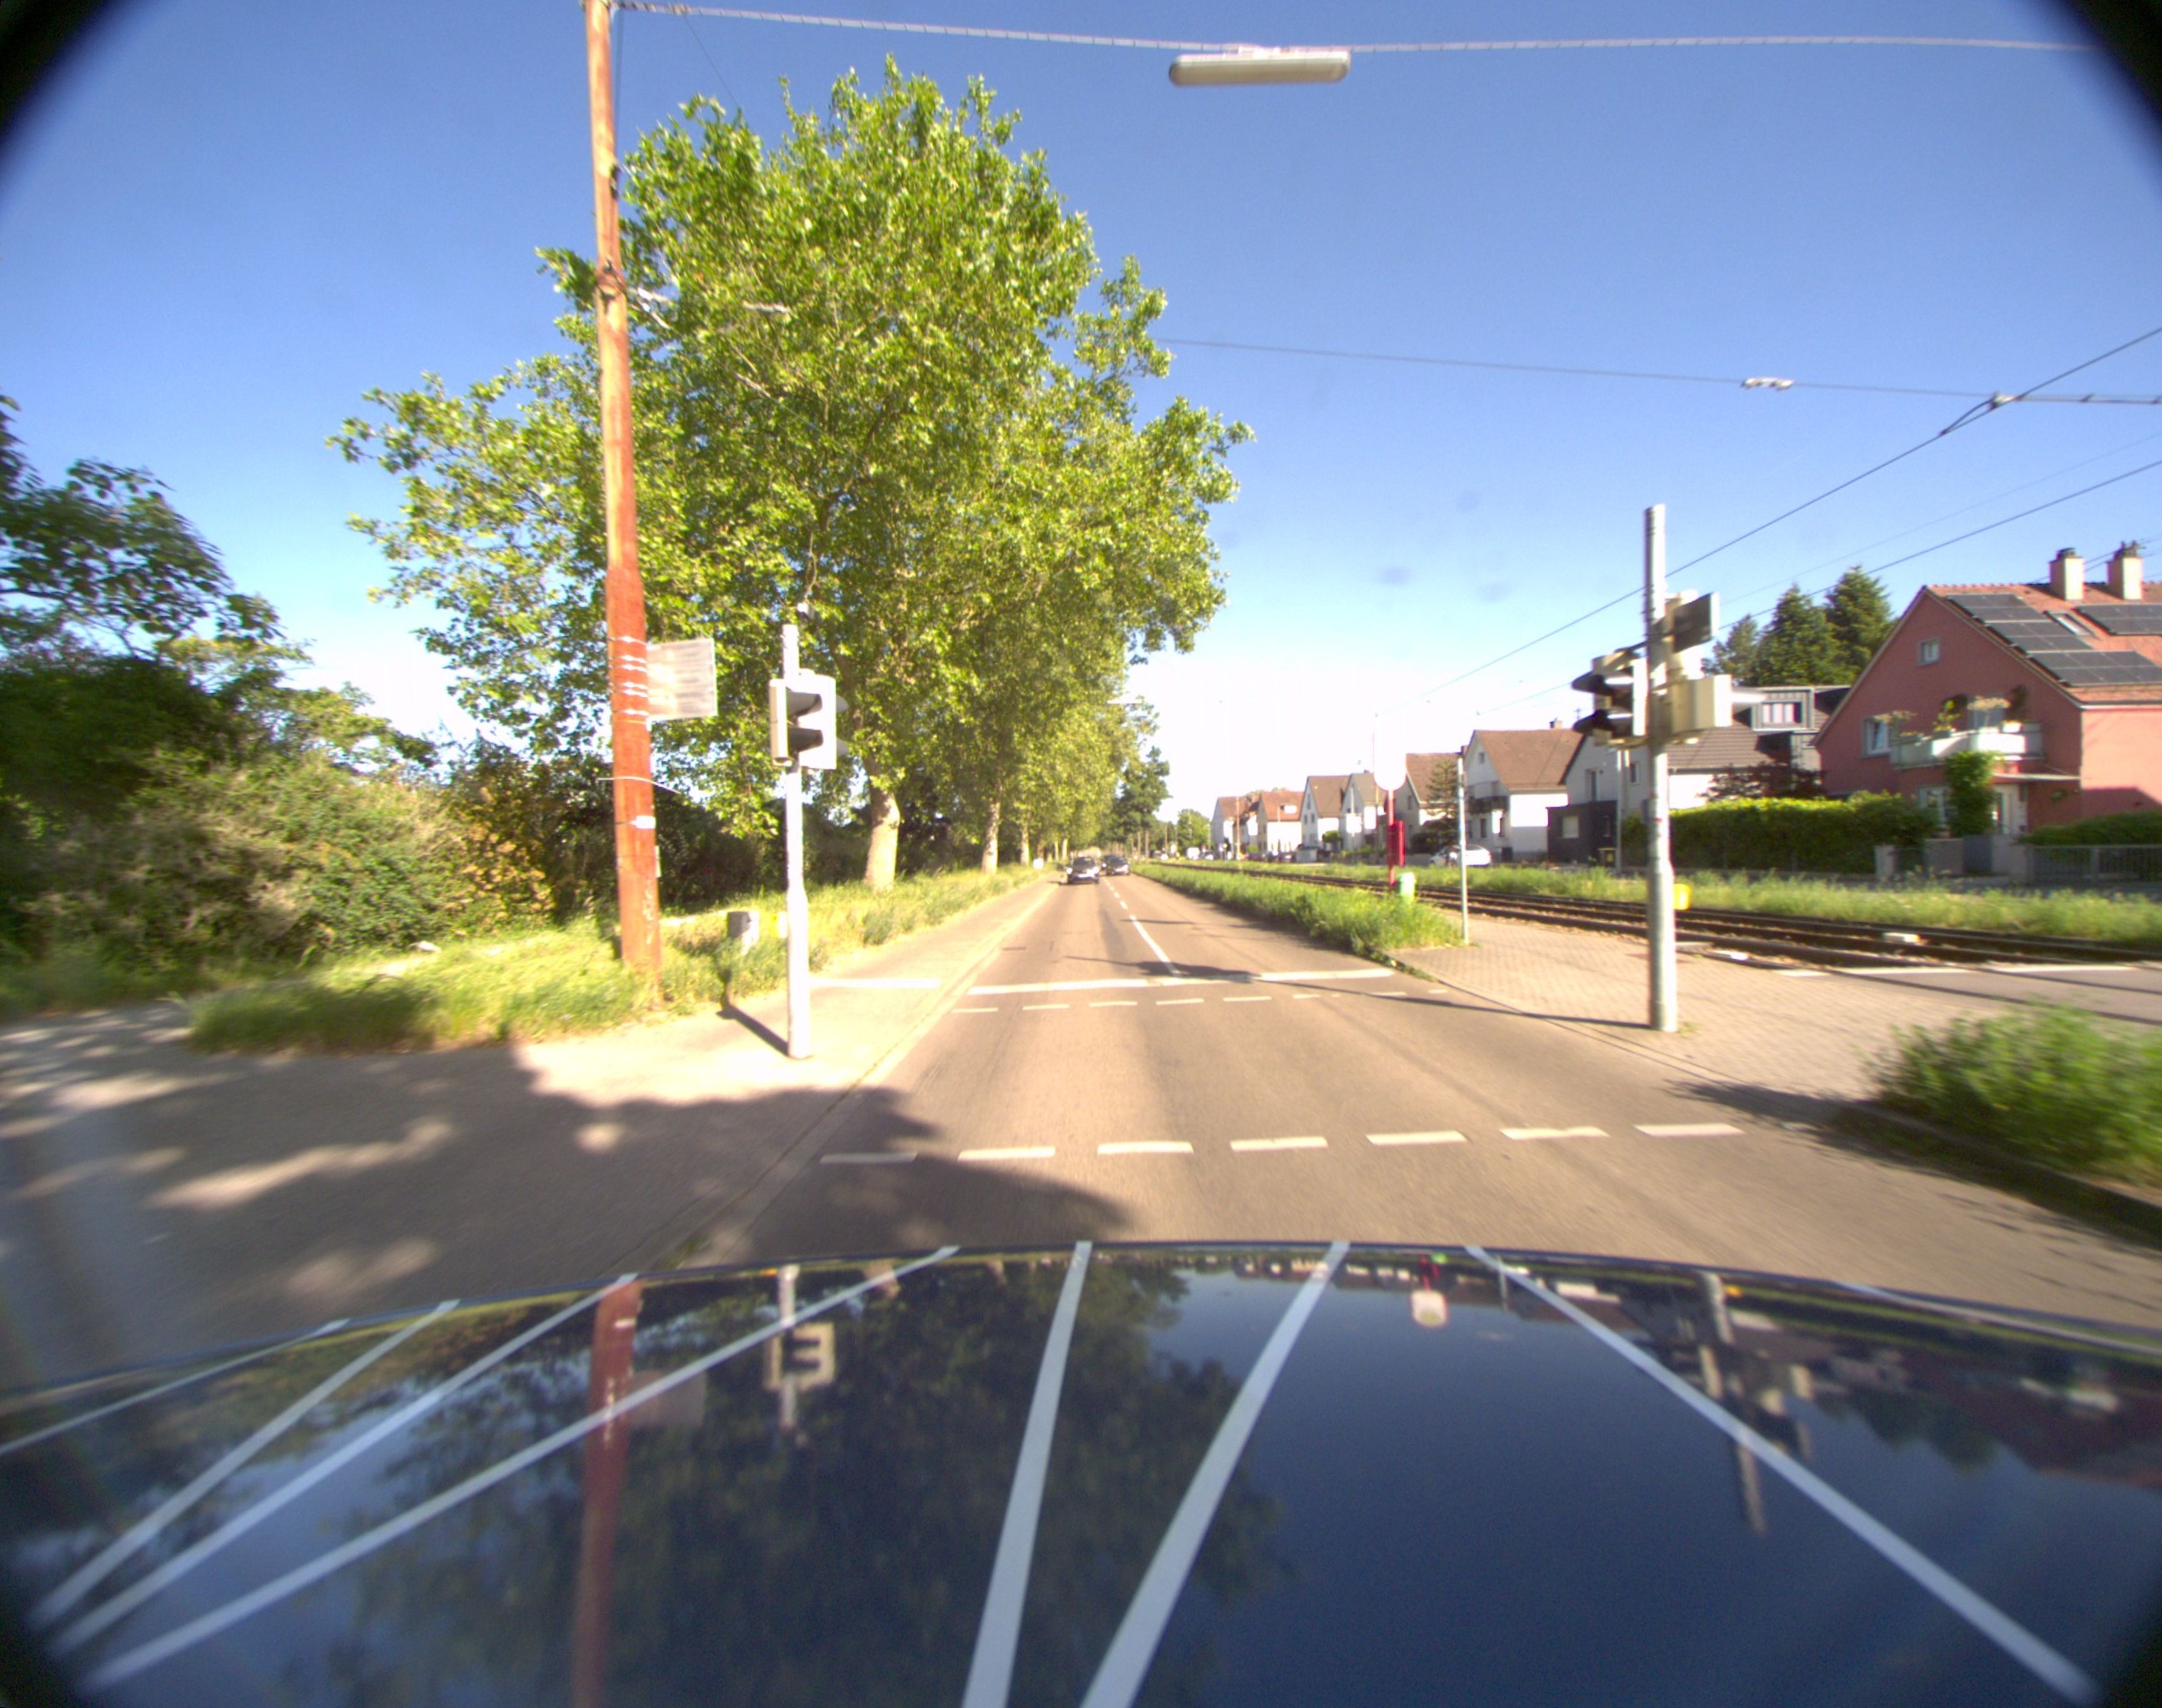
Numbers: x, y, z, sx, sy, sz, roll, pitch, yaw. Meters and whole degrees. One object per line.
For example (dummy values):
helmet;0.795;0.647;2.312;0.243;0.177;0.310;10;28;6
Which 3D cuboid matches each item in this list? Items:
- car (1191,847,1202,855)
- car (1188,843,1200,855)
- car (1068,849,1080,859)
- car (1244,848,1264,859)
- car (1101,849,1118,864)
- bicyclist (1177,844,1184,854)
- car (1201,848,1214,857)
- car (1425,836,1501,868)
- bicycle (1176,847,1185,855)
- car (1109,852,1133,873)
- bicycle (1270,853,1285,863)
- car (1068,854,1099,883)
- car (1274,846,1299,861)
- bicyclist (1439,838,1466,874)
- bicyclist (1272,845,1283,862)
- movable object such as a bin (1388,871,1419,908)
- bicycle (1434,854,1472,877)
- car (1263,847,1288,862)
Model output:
car;23.030;-0.640;151.774;1.791;1.497;4.000;-3;1;4
car;23.250;-1.068;156.413;2.132;2.210;4.000;-3;1;4
car;-1.118;0.027;120.243;1.692;1.499;3.582;-3;1;1
car;22.799;-0.078;100.072;1.756;1.373;3.823;-3;1;1
car;3.049;0.259;81.712;1.692;1.499;3.582;-3;1;1
bicyclist;20.996;-1.064;160.391;1.310;2.220;1.623;-3;1;1
car;22.894;-0.240;137.749;1.791;1.497;4.000;-3;1;1
car;22.055;-0.147;44.139;1.998;1.668;4.839;-3;1;1
bicycle;21.004;-0.630;160.342;1.354;1.486;4.000;-3;1;1
car;3.048;0.635;58.505;1.692;1.499;3.582;-3;1;1
bicycle;20.189;0.361;78.257;0.854;0.946;2.308;-3;1;-1
car;0.168;0.786;43.764;1.692;1.499;3.582;-1;1;1
car;22.477;-0.064;83.343;1.738;1.481;3.755;-3;1;1
bicyclist;19.839;0.107;40.574;0.854;1.876;1.072;-3;1;1
bicyclist;20.196;-0.087;78.240;0.853;1.665;0.837;-3;1;2
movable object such as a bin;5.431;0.598;12.807;0.387;0.579;0.379;-3;1;9
bicycle;19.865;0.579;40.636;0.854;1.128;2.309;-3;1;1
car;22.416;-0.011;87.660;1.802;1.588;4.011;-3;1;1
